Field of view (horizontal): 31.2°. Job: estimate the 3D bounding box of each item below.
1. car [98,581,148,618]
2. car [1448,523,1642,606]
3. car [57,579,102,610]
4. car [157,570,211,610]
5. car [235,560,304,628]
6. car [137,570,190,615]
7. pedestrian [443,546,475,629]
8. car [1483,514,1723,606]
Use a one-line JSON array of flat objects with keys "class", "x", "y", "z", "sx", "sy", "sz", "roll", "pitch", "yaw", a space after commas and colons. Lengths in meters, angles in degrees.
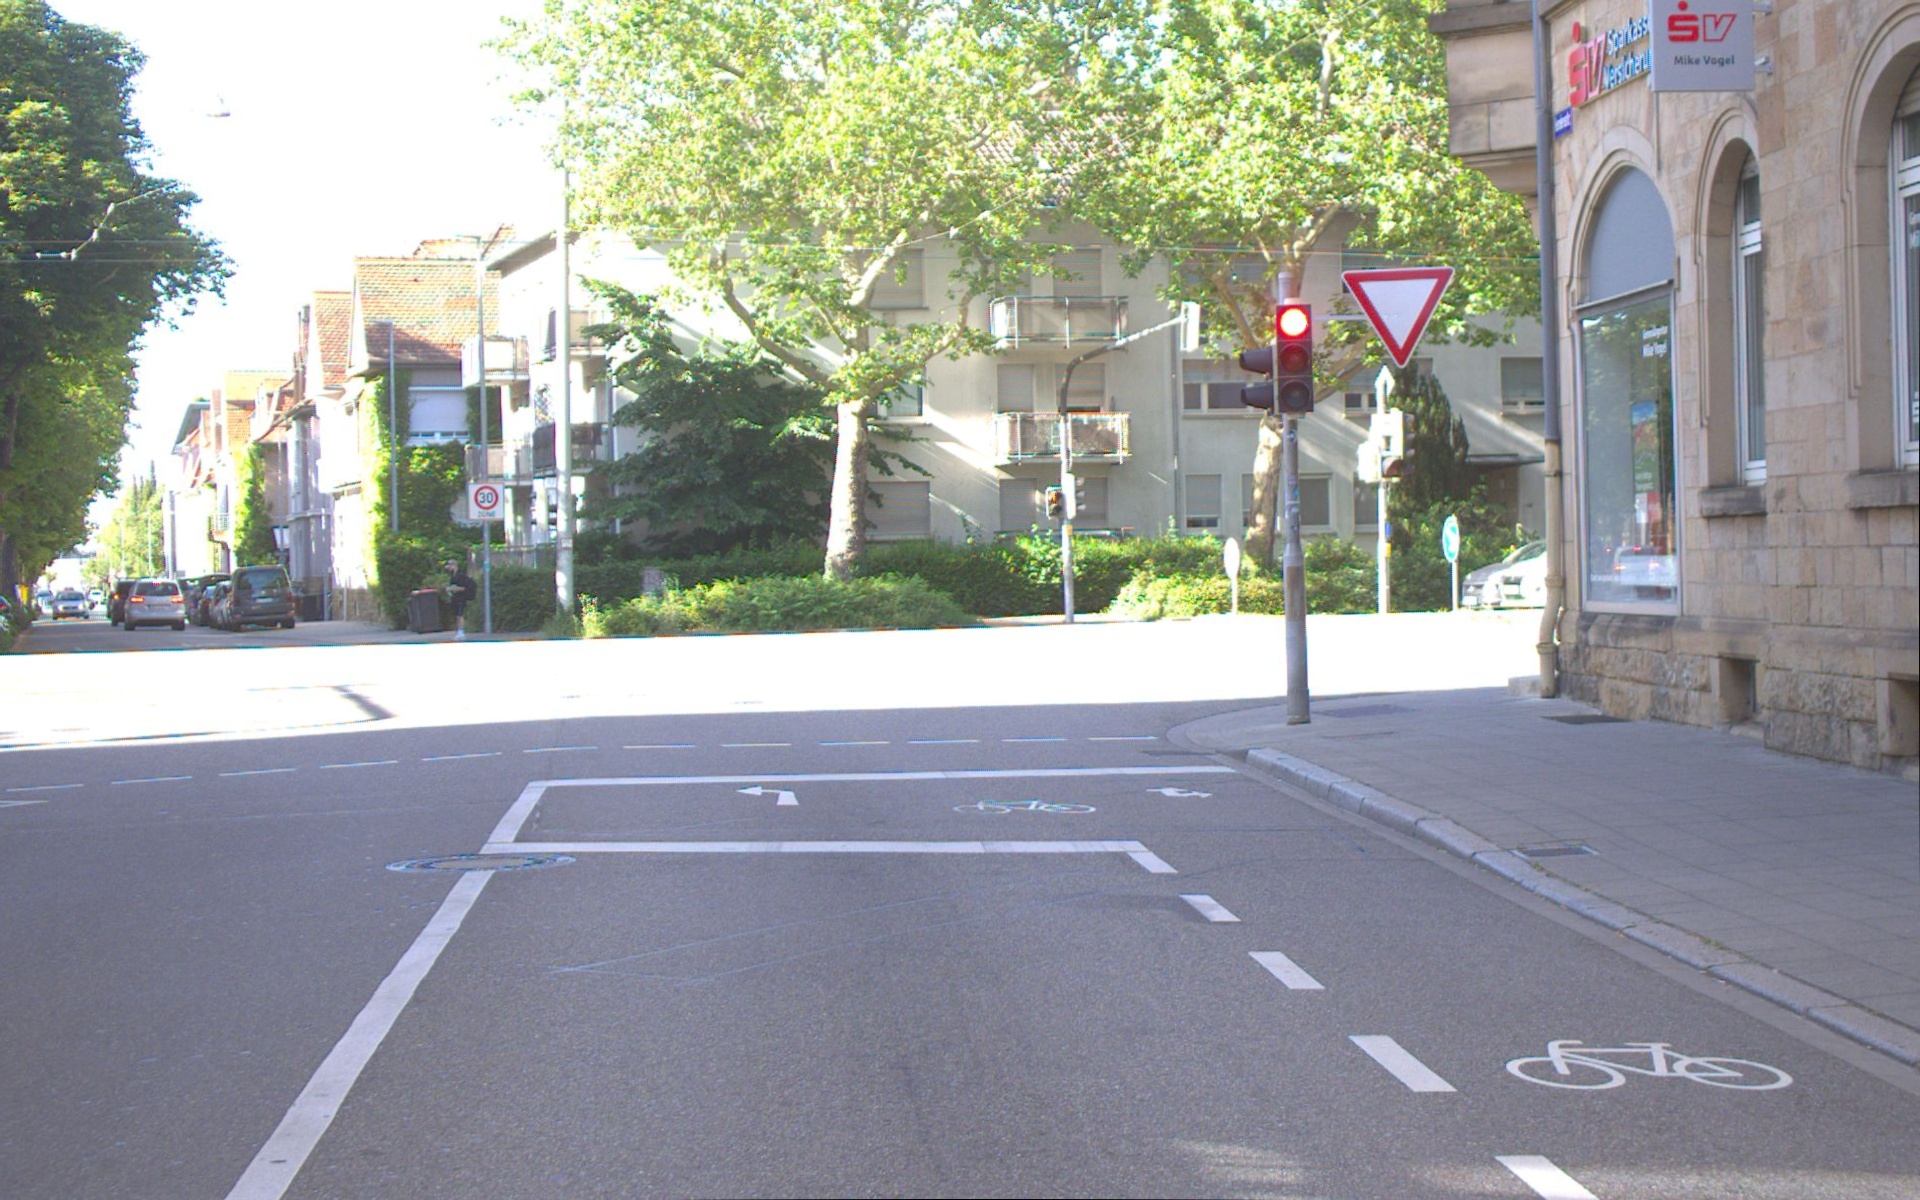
[{"class": "car", "x": -32.750, "y": -0.042, "z": 134.476, "sx": 1.737, "sy": 1.332, "sz": 3.835, "roll": -2, "pitch": 1, "yaw": -16}, {"class": "car", "x": 11.291, "y": -0.698, "z": 66.391, "sx": 3.379, "sy": 1.482, "sz": 1.525, "roll": -2, "pitch": 1, "yaw": -24}, {"class": "car", "x": -43.507, "y": -0.271, "z": 169.829, "sx": 1.993, "sy": 1.441, "sz": 4.001, "roll": -2, "pitch": 1, "yaw": -16}, {"class": "car", "x": -35.396, "y": -0.463, "z": 156.764, "sx": 1.993, "sy": 1.826, "sz": 4.001, "roll": 0, "pitch": 0, "yaw": -18}, {"class": "car", "x": -21.465, "y": -0.207, "z": 106.751, "sx": 1.993, "sy": 2.007, "sz": 4.001, "roll": -2, "pitch": 1, "yaw": -12}, {"class": "car", "x": -26.459, "y": -0.259, "z": 114.176, "sx": 1.673, "sy": 1.477, "sz": 3.523, "roll": 0, "pitch": 0, "yaw": -14}, {"class": "pedestrian", "x": -10.575, "y": -0.259, "z": 72.527, "sx": 0.633, "sy": 1.744, "sz": 0.659, "roll": 0, "pitch": 0, "yaw": -6}, {"class": "car", "x": 11.148, "y": -0.699, "z": 59.605, "sx": 3.786, "sy": 1.467, "sz": 1.630, "roll": -2, "pitch": 1, "yaw": -22}]
